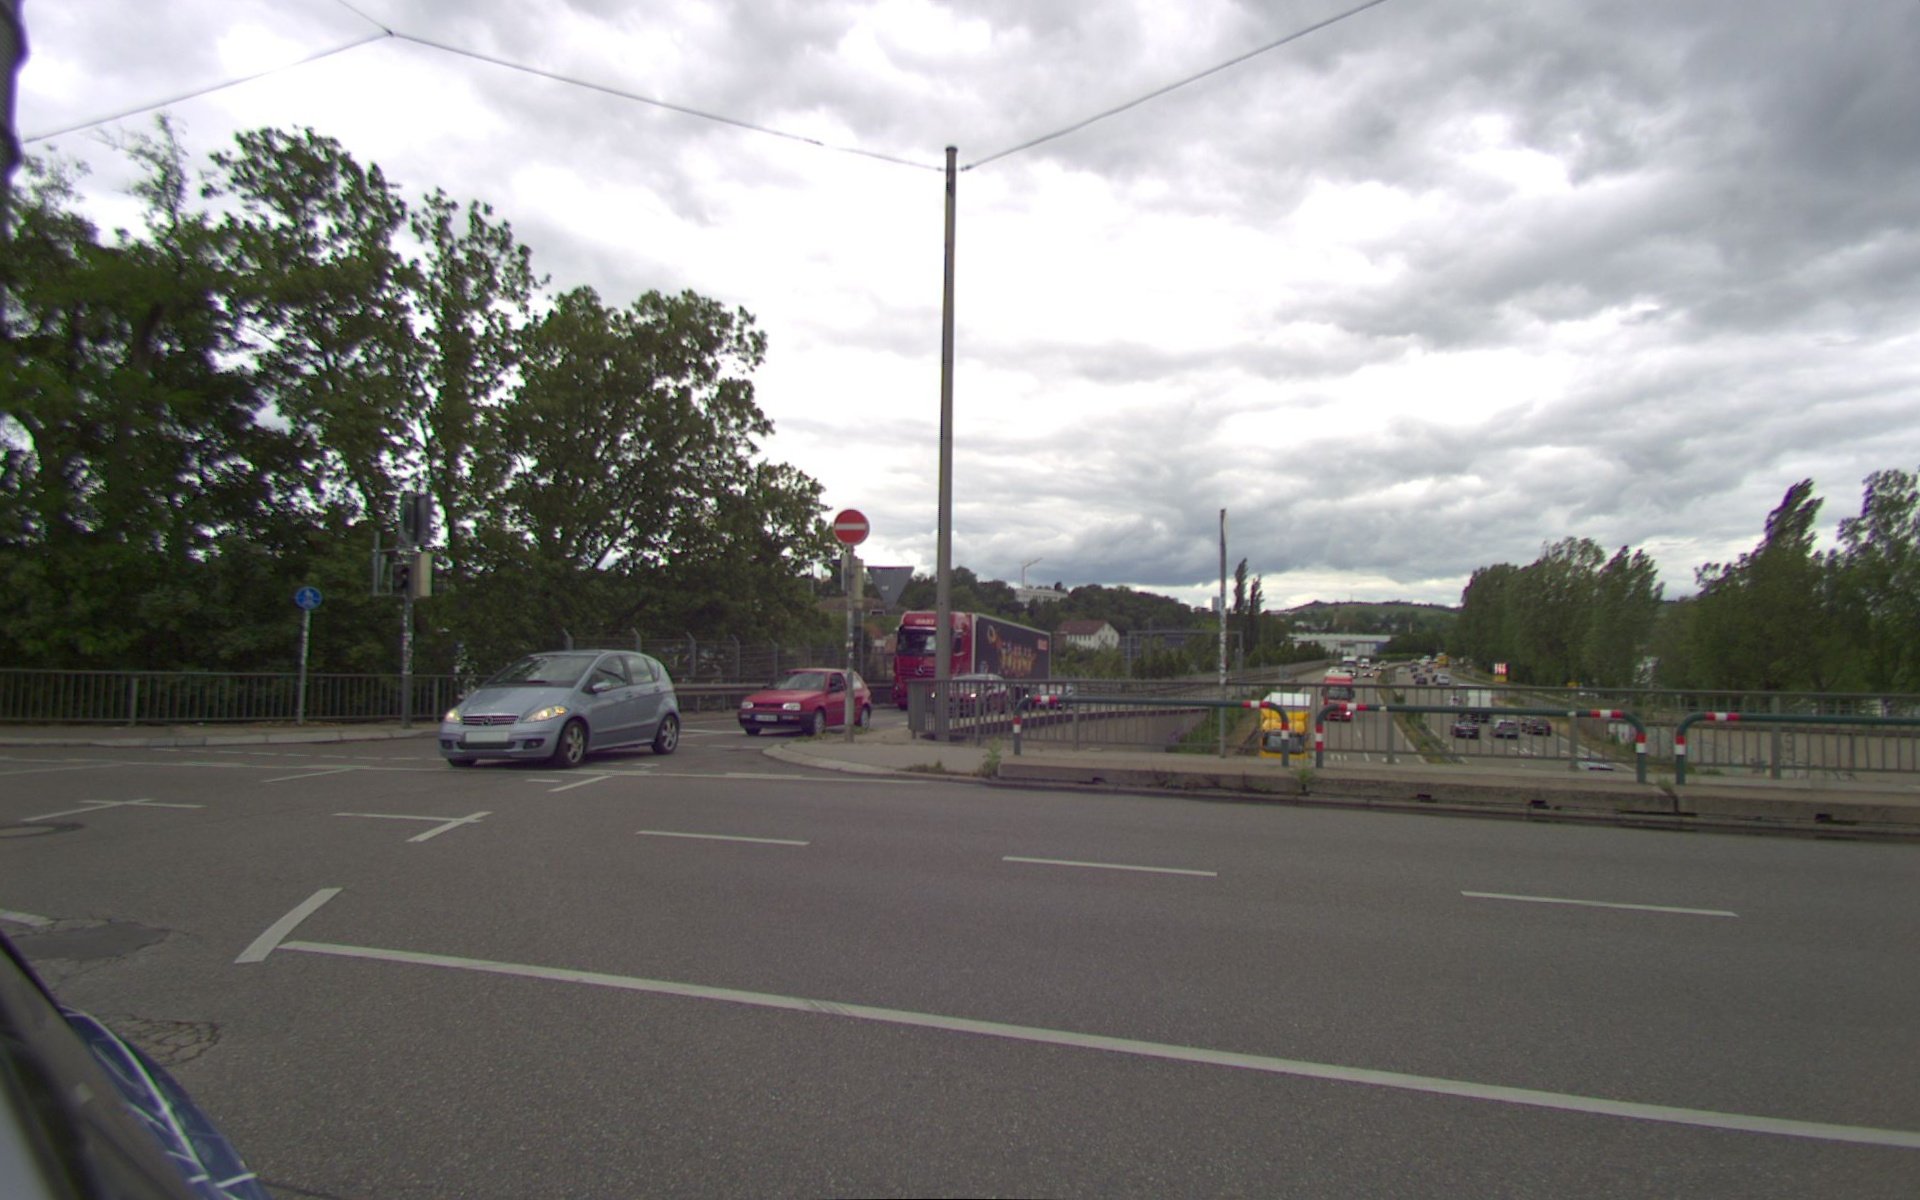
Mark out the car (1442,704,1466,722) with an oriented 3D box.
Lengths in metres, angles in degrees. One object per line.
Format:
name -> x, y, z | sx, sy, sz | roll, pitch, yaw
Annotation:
car -> 55.385, 12.633, 113.481 | 1.986, 1.630, 4.298 | 1, -3, 21

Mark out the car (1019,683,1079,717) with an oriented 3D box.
car -> 4.062, 4.456, 45.587 | 1.684, 1.431, 4.438 | -1, -5, 19

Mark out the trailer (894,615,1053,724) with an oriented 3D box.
trailer -> 1.124, 3.381, 47.532 | 3.641, 4.355, 13.698 | -1, -5, 18

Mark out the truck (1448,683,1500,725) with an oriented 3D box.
truck -> 50.834, 10.179, 100.281 | 3.569, 3.482, 8.183 | 2, -2, 20

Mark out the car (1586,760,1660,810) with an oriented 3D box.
car -> 33.456, 9.309, 51.206 | 2.123, 1.730, 4.395 | 1, -2, 20

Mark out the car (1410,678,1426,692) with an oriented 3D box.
car -> 78.677, 14.621, 173.885 | 2.210, 2.029, 4.608 | 1, 0, 21

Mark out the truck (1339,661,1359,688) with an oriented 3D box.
truck -> 77.841, 14.782, 202.204 | 3.357, 4.992, 13.832 | -1, -3, 22

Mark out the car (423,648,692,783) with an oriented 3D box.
car -> -5.425, 1.546, 14.196 | 1.730, 1.616, 3.668 | -1, -5, 12

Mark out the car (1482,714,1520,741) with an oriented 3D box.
car -> 45.028, 10.627, 84.301 | 2.123, 1.730, 4.395 | 1, -2, 20

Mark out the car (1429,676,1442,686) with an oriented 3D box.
car -> 90.433, 15.440, 192.408 | 1.987, 1.782, 3.456 | 2, -3, 22

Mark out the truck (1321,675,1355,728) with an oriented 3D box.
truck -> 37.244, 9.836, 99.450 | 2.871, 4.389, 13.158 | 0, -2, 22

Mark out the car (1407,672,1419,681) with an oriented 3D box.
car -> 93.795, 15.901, 209.490 | 1.987, 1.730, 3.612 | 2, -3, 22

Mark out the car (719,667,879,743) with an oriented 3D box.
car -> -3.365, 2.227, 21.955 | 1.735, 1.475, 3.928 | -1, -5, 20

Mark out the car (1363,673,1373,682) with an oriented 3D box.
car -> 83.366, 15.847, 206.787 | 1.901, 1.730, 3.612 | 2, -3, 22

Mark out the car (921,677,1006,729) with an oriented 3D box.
car -> 0.194, 3.395, 33.963 | 1.683, 1.431, 4.443 | -1, -2, 17

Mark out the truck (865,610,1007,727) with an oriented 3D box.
truck -> -0.776, 2.872, 41.644 | 3.641, 4.355, 7.192 | -1, -5, 18

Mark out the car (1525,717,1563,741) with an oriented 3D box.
car -> 50.572, 11.146, 87.694 | 2.123, 1.577, 4.395 | 1, -2, 20

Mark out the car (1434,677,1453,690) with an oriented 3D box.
car -> 84.326, 14.502, 176.570 | 2.581, 2.029, 4.607 | 1, -2, 22

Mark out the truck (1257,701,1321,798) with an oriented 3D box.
truck -> 18.522, 8.120, 56.607 | 2.882, 4.215, 9.955 | 2, -2, 20

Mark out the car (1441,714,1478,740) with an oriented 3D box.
car -> 41.149, 10.443, 83.429 | 2.322, 1.730, 4.696 | -3, -3, 22
